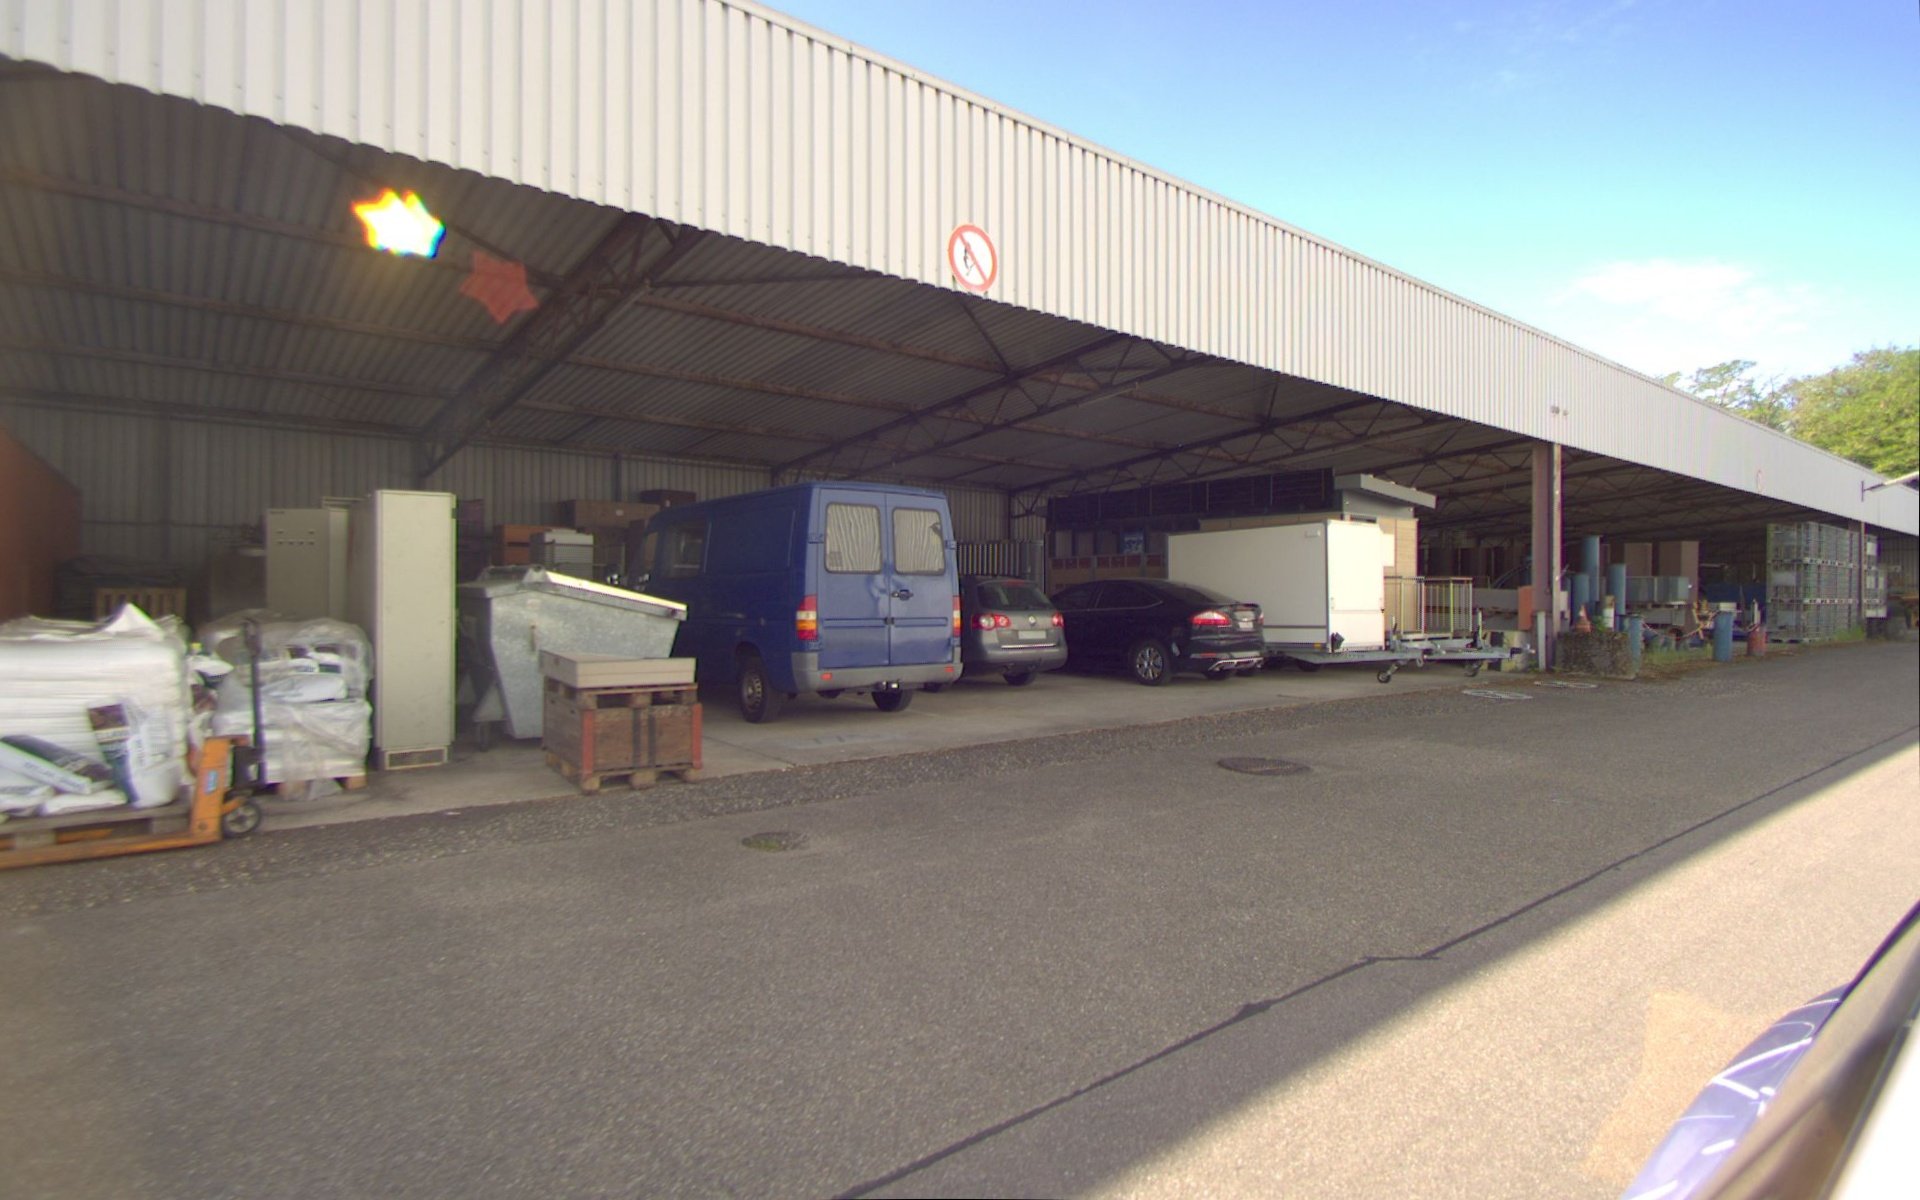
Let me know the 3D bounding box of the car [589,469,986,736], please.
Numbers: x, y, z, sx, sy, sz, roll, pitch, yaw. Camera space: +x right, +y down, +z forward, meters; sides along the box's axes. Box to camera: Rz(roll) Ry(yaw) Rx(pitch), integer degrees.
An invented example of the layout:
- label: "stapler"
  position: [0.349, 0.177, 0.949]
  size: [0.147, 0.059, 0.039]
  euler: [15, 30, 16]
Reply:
- label: "car"
  position: [-2.235, -0.022, 11.491]
  size: [2.114, 2.309, 5.344]
  euler: [-1, 1, -39]

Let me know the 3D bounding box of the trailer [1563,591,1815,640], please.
- label: "trailer"
  position: [21.339, 0.387, 29.895]
  size: [1.939, 1.200, 5.741]
  euler: [-1, 2, -39]

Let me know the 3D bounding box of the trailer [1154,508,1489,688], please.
- label: "trailer"
  position: [5.419, -0.099, 15.723]
  size: [2.010, 2.371, 4.529]
  euler: [-1, 2, -37]

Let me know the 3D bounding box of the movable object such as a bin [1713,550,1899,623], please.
- label: "movable object such as a bin"
  position: [36.964, -0.590, 44.381]
  size: [2.769, 2.962, 5.849]
  euler: [0, 1, -38]

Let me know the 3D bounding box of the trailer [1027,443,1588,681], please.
- label: "trailer"
  position: [5.731, -0.676, 19.305]
  size: [2.750, 3.384, 10.296]
  euler: [0, 1, -38]

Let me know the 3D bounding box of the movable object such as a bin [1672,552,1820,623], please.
- label: "movable object such as a bin"
  position: [33.641, -0.548, 43.406]
  size: [2.451, 2.866, 4.538]
  euler: [0, 0, -38]

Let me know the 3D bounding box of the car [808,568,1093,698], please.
- label: "car"
  position: [-0.260, 0.353, 13.990]
  size: [1.808, 1.533, 3.970]
  euler: [-1, 1, -41]

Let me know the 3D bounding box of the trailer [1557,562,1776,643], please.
- label: "trailer"
  position: [19.059, -0.015, 27.492]
  size: [2.123, 2.015, 4.436]
  euler: [-1, 2, -37]

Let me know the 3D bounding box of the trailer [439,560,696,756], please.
- label: "trailer"
  position: [-3.528, 0.409, 8.979]
  size: [1.705, 1.484, 2.045]
  euler: [0, 1, -35]

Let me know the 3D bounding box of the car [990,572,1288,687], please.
- label: "car"
  position: [2.560, 0.358, 15.302]
  size: [1.837, 1.490, 4.255]
  euler: [0, 0, -41]

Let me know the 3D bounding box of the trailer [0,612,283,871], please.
- label: "trailer"
  position: [-4.292, 0.653, 5.001]
  size: [1.520, 1.132, 0.553]
  euler: [-1, 2, -41]
